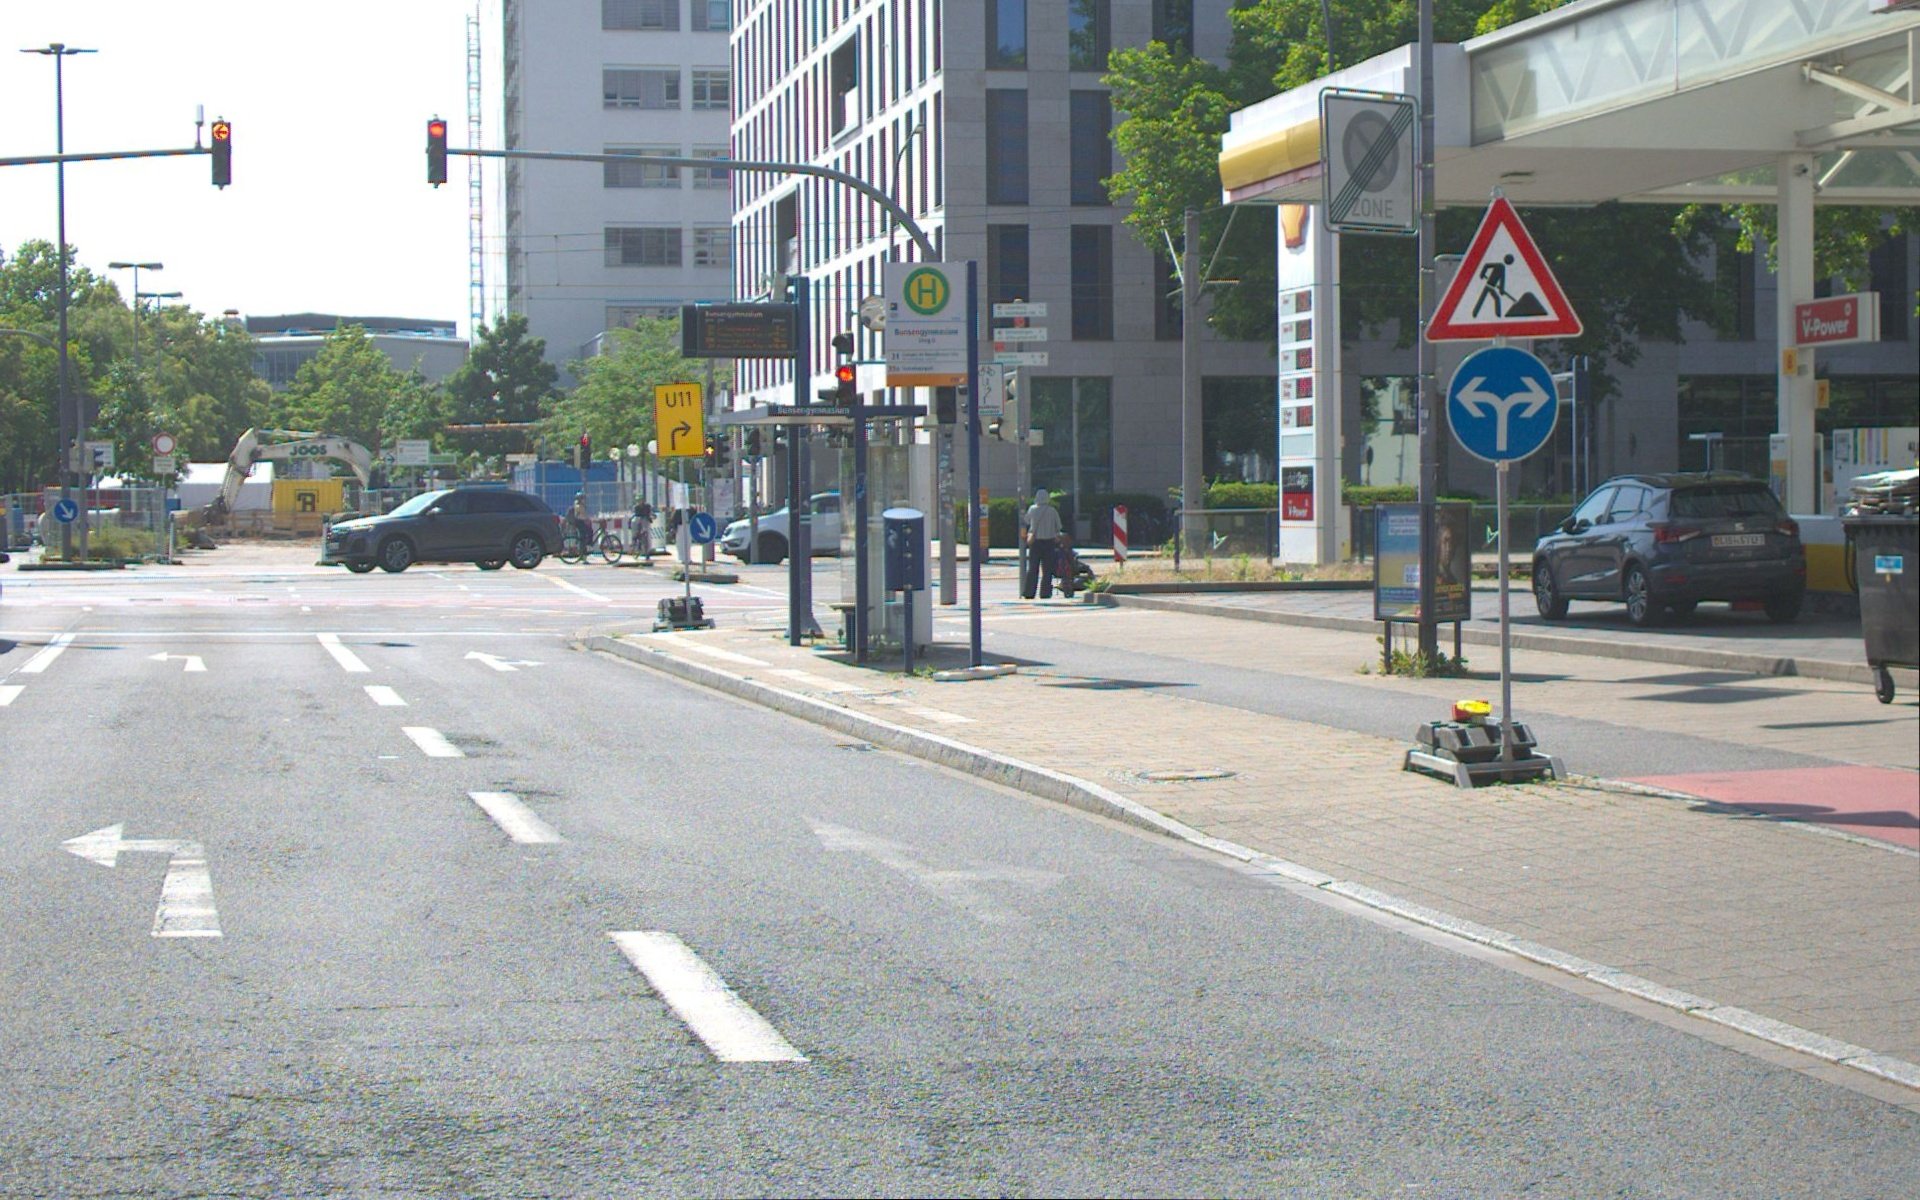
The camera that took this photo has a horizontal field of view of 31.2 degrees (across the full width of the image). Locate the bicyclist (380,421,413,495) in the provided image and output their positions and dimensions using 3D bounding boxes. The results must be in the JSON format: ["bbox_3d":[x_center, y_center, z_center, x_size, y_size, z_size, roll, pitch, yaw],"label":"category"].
[{"bbox_3d":[-19.606,-4.934,119.663,1.069,2.565,0.828,0,1,-6],"label":"bicyclist"}]

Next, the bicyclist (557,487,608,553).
[{"bbox_3d":[-9.525,-2.017,86.757,1.239,1.667,0.525,0,1,-4],"label":"bicyclist"}]

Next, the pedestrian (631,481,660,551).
[{"bbox_3d":[-8.034,-2.150,87.809,0.528,1.765,0.720,-1,2,-25],"label":"pedestrian"}]

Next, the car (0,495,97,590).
[{"bbox_3d":[-17.197,-1.037,60.961,1.994,1.633,4.394,0,2,11],"label":"car"}]

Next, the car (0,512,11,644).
[{"bbox_3d":[-11.585,-0.275,38.197,1.993,1.393,4.001,-1,2,-15],"label":"car"}]

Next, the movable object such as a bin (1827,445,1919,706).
[{"bbox_3d":[6.405,-0.187,21.553,1.307,1.586,1.396,-3,2,-14],"label":"movable object such as a bin"}]

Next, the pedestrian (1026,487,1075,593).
[{"bbox_3d":[1.328,-0.878,50.335,0.618,1.538,0.462,0,2,-13],"label":"pedestrian"}]

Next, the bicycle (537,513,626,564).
[{"bbox_3d":[-9.551,-1.564,86.766,2.228,1.280,0.525,0,2,-4],"label":"bicycle"}]

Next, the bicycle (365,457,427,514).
[{"bbox_3d":[-19.627,-3.978,119.694,2.087,1.955,0.828,0,1,-6],"label":"bicycle"}]

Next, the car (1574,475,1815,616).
[{"bbox_3d":[7.636,-0.591,36.021,1.650,1.393,3.642,0,2,-2],"label":"car"}]

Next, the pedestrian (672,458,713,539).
[{"bbox_3d":[-6.692,-2.547,86.014,0.778,2.006,0.776,1,2,17],"label":"pedestrian"}]

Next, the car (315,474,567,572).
[{"bbox_3d":[-10.883,-1.625,72.147,4.853,2.006,2.000,-1,2,-26],"label":"car"}]

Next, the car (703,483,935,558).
[{"bbox_3d":[-3.132,-1.775,76.090,4.853,1.631,2.001,0,2,-13],"label":"car"}]

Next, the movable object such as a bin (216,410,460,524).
[{"bbox_3d":[-25.272,-5.402,139.881,9.673,4.534,3.165,0,2,-10],"label":"movable object such as a bin"}]
